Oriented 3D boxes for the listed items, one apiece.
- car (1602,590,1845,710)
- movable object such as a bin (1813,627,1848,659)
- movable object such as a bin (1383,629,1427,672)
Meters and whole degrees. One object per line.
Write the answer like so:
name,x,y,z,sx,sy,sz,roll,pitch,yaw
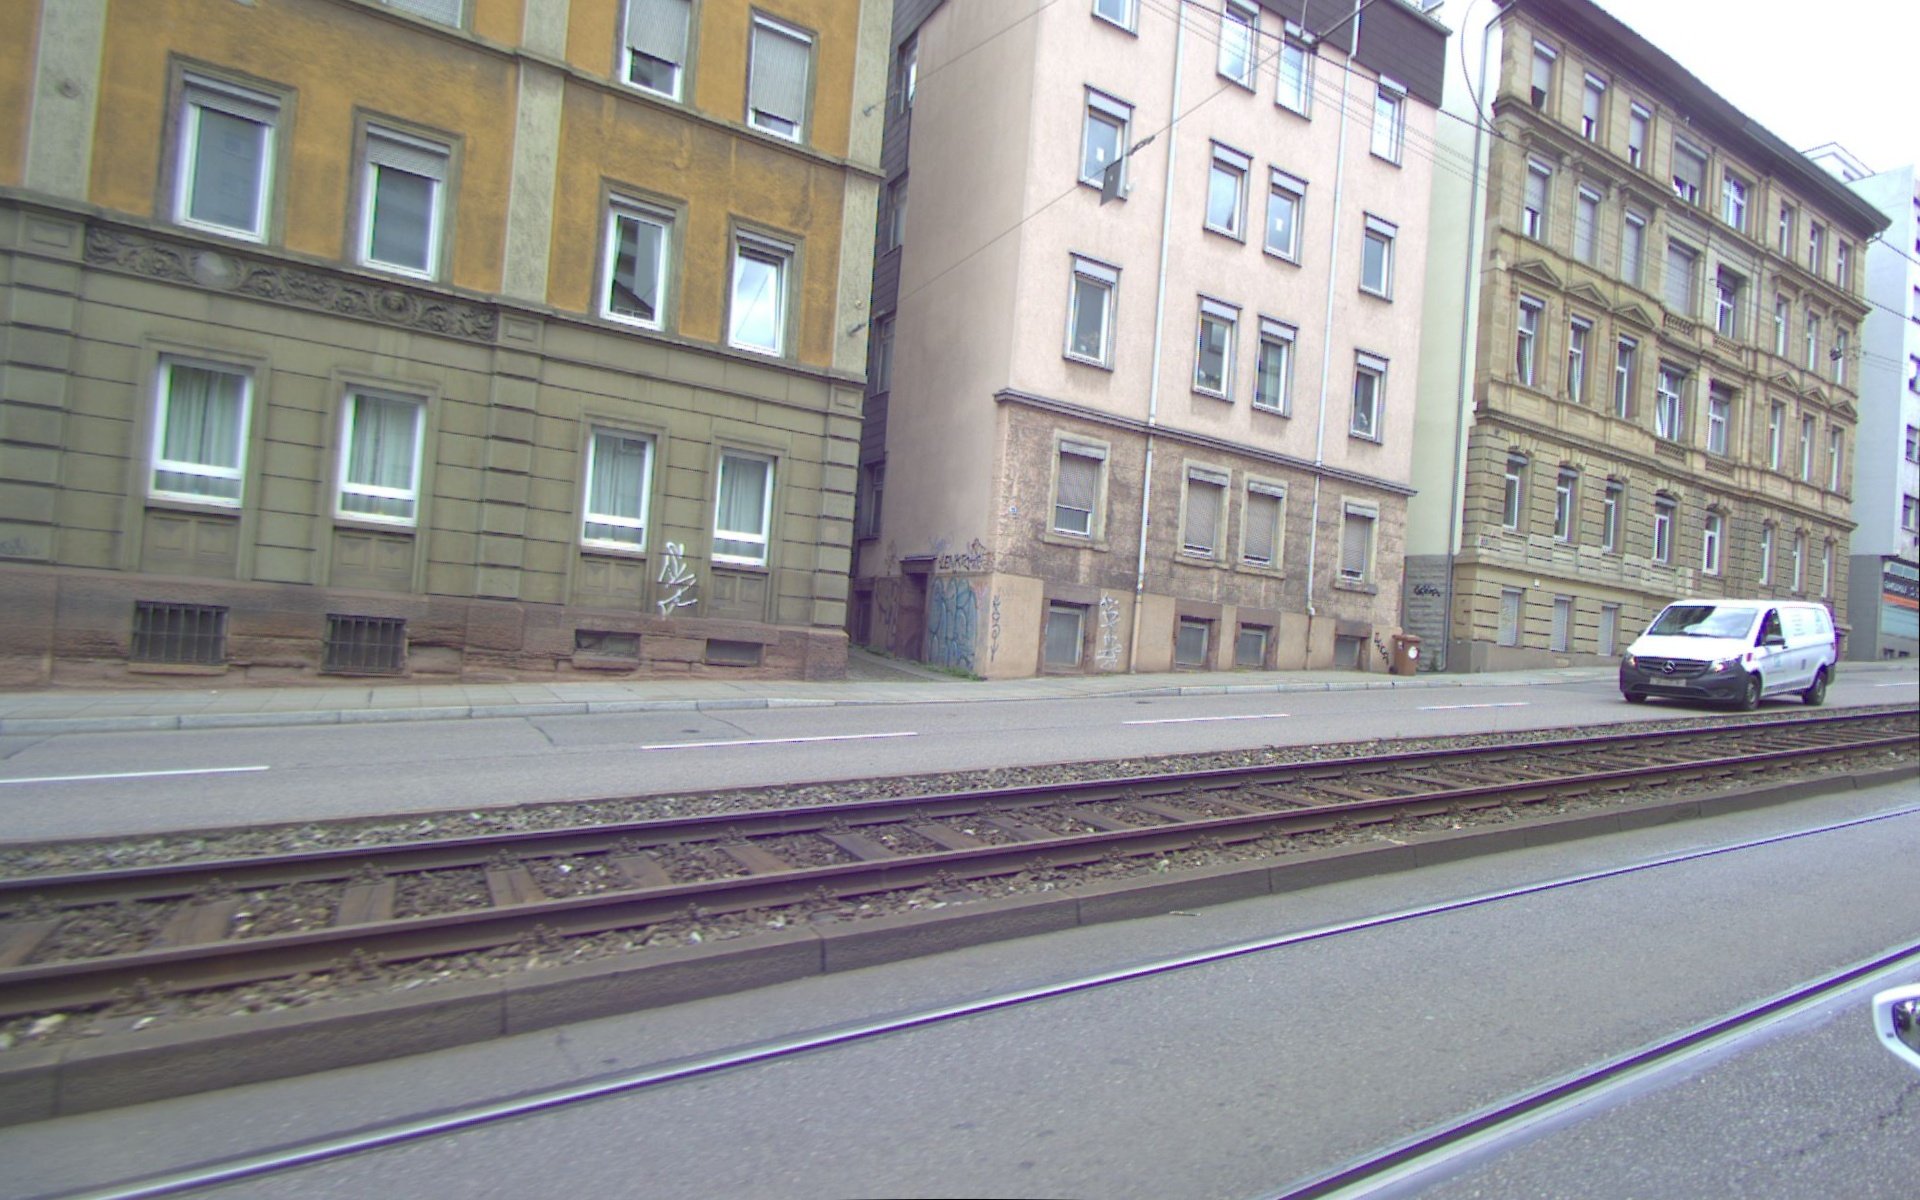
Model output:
car,14.093,0.841,18.440,5.262,1.925,1.945,1,0,-34
movable object such as a bin,30.030,1.484,34.660,0.554,1.088,0.766,1,0,-30
movable object such as a bin,10.357,1.163,23.386,0.668,0.923,0.626,1,3,-30
